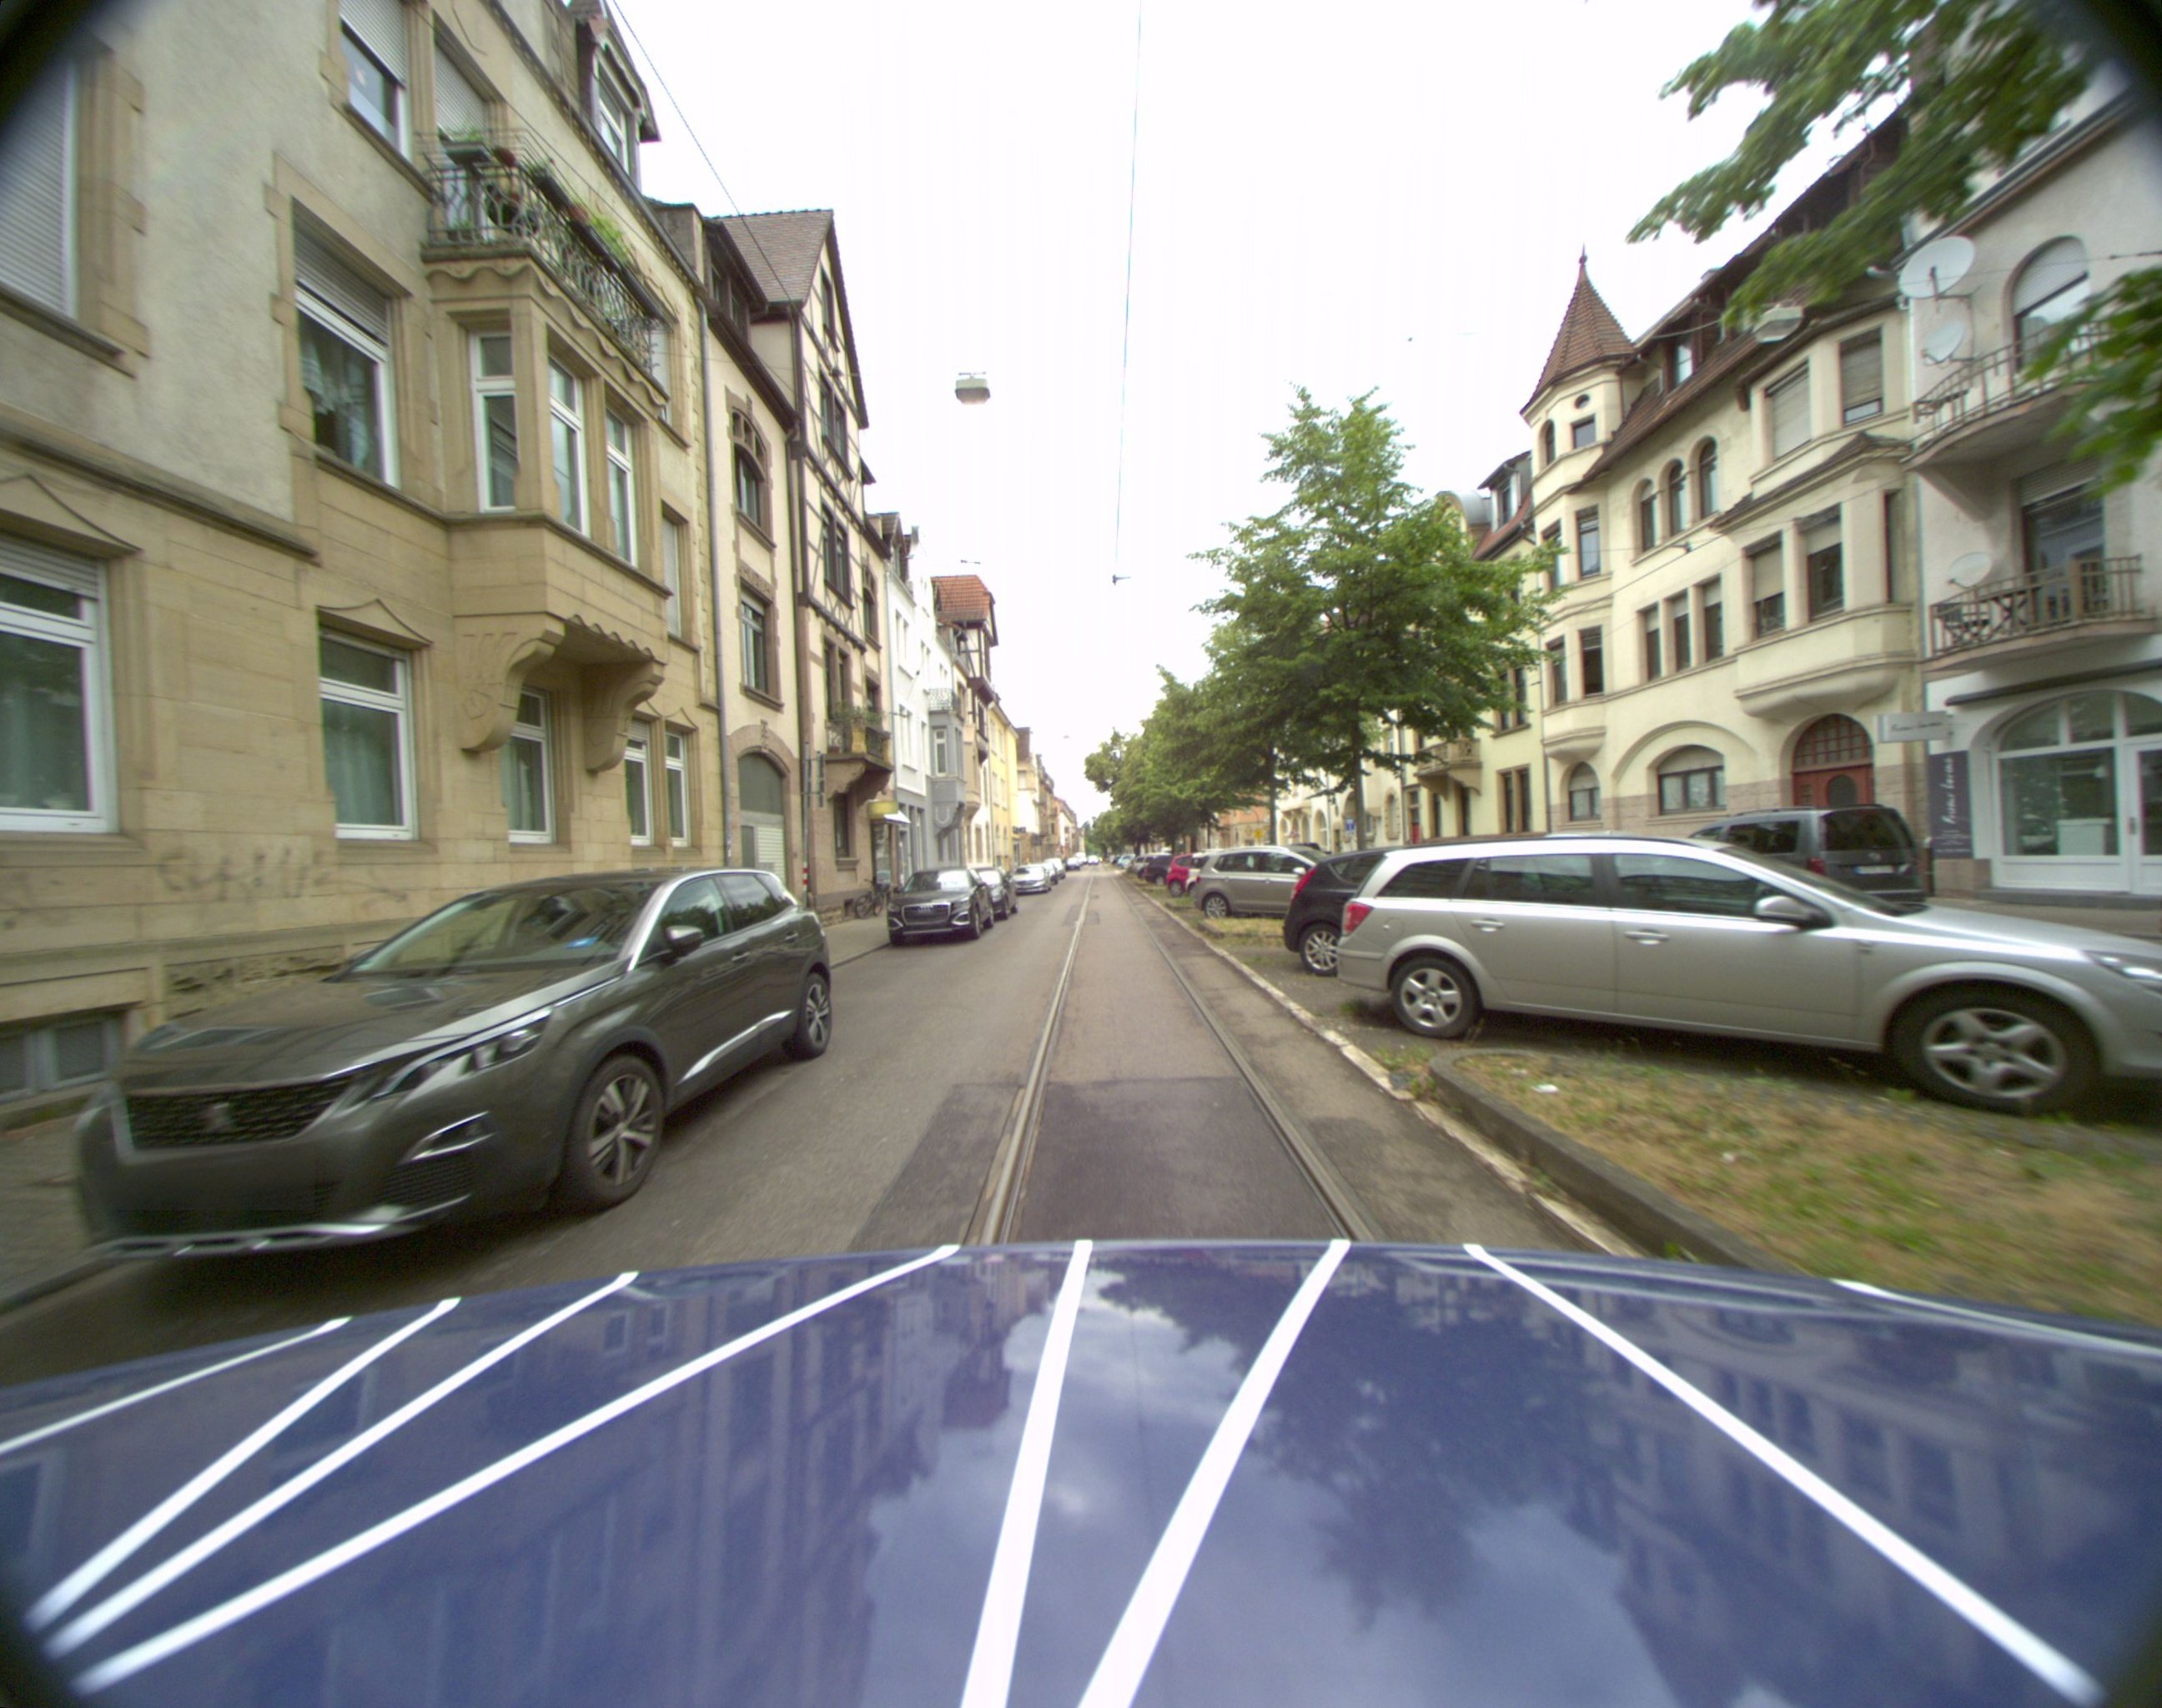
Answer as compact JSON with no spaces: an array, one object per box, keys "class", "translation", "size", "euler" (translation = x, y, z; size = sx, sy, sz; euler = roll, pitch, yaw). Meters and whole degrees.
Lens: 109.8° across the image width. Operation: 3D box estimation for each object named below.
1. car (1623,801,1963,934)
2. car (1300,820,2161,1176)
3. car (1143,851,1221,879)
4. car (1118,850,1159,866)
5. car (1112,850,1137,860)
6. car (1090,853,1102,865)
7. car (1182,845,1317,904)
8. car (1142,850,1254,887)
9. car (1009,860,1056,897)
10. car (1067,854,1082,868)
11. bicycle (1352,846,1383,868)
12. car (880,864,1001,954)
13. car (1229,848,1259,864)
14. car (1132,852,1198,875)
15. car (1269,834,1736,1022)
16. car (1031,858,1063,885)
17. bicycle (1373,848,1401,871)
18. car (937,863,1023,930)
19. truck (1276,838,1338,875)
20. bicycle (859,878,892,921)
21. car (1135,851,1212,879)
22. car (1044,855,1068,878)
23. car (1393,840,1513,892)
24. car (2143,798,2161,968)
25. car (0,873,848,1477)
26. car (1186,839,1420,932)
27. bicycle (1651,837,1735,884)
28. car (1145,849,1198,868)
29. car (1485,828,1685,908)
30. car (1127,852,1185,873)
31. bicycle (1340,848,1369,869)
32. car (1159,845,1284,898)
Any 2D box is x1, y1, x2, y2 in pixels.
[{"class":"car","translation":[11.951,0.195,13.289],"size":[1.855,1.859,4.431],"euler":[-2,0,2]},{"class":"car","translation":[4.077,0.669,5.250],"size":[1.867,1.484,4.553],"euler":[-4,1,-43]},{"class":"car","translation":[5.293,0.585,39.987],"size":[1.793,1.380,3.727],"euler":[-1,-1,-45]},{"class":"car","translation":[6.237,0.441,82.540],"size":[3.989,1.602,1.902],"euler":[-2,-1,32]},{"class":"car","translation":[7.753,0.129,134.540],"size":[3.991,1.602,1.901],"euler":[-2,-1,22]},{"class":"car","translation":[2.680,0.858,137.413],"size":[1.998,2.002,4.000],"euler":[-3,1,1]},{"class":"car","translation":[4.879,0.573,22.247],"size":[3.418,1.518,1.693],"euler":[-1,2,44]},{"class":"car","translation":[5.042,0.659,33.253],"size":[1.889,1.458,4.596],"euler":[-3,0,-43]},{"class":"car","translation":[-2.355,1.153,37.680],"size":[1.793,1.504,4.214],"euler":[-6,0,2]},{"class":"car","translation":[-0.805,0.830,94.610],"size":[1.676,1.519,4.213],"euler":[-4,1,1]},{"class":"bicycle","translation":[15.796,0.188,41.918],"size":[0.613,1.120,1.915],"euler":[-6,0,-10]},{"class":"car","translation":[-2.908,1.079,16.662],"size":[1.702,1.504,4.419],"euler":[-6,0,0]},{"class":"car","translation":[13.255,0.161,61.858],"size":[1.639,1.169,3.380],"euler":[-3,0,-1]},{"class":"car","translation":[5.592,0.616,50.914],"size":[3.989,1.407,1.902],"euler":[-3,-1,40]},{"class":"car","translation":[4.278,0.653,8.167],"size":[1.779,1.476,3.989],"euler":[-3,0,-43]},{"class":"car","translation":[-2.157,1.077,49.099],"size":[1.635,1.478,4.214],"euler":[-6,0,1]},{"class":"bicycle","translation":[15.840,0.286,39.369],"size":[0.612,1.120,1.916],"euler":[-5,0,1]},{"class":"car","translation":[-2.760,1.114,21.688],"size":[1.702,1.504,4.391],"euler":[-6,0,0]},{"class":"truck","translation":[12.763,0.119,43.370],"size":[2.150,1.845,6.065],"euler":[-3,0,5]},{"class":"bicycle","translation":[-5.755,1.258,21.333],"size":[0.422,1.091,1.588],"euler":[2,0,1]},{"class":"car","translation":[5.245,0.624,43.416],"size":[1.902,1.458,3.989],"euler":[-1,-1,-45]},{"class":"car","translation":[-1.908,0.966,59.161],"size":[1.635,1.519,4.213],"euler":[-4,1,1]},{"class":"car","translation":[12.306,0.373,25.466],"size":[1.855,1.513,4.194],"euler":[-2,0,-1]},{"class":"car","translation":[11.505,0.263,5.450],"size":[1.809,1.670,4.273],"euler":[-3,1,1]},{"class":"car","translation":[-3.050,1.024,4.580],"size":[1.764,1.612,4.694],"euler":[-3,0,0]},{"class":"car","translation":[4.425,0.585,15.532],"size":[4.195,1.600,1.728],"euler":[-2,2,43]},{"class":"bicycle","translation":[15.296,0.146,19.056],"size":[0.656,1.081,1.868],"euler":[-3,0,3]},{"class":"car","translation":[7.436,0.371,62.410],"size":[3.991,1.407,1.901],"euler":[-2,-1,22]},{"class":"car","translation":[12.102,0.300,18.682],"size":[1.855,1.650,4.493],"euler":[-2,0,-1]},{"class":"car","translation":[5.697,0.644,57.715],"size":[3.989,1.407,1.902],"euler":[-3,-1,40]},{"class":"bicycle","translation":[15.822,0.285,43.987],"size":[0.613,1.120,1.915],"euler":[-6,0,-10]},{"class":"car","translation":[4.713,0.614,25.815],"size":[1.678,1.518,3.803],"euler":[-4,0,-44]}]
